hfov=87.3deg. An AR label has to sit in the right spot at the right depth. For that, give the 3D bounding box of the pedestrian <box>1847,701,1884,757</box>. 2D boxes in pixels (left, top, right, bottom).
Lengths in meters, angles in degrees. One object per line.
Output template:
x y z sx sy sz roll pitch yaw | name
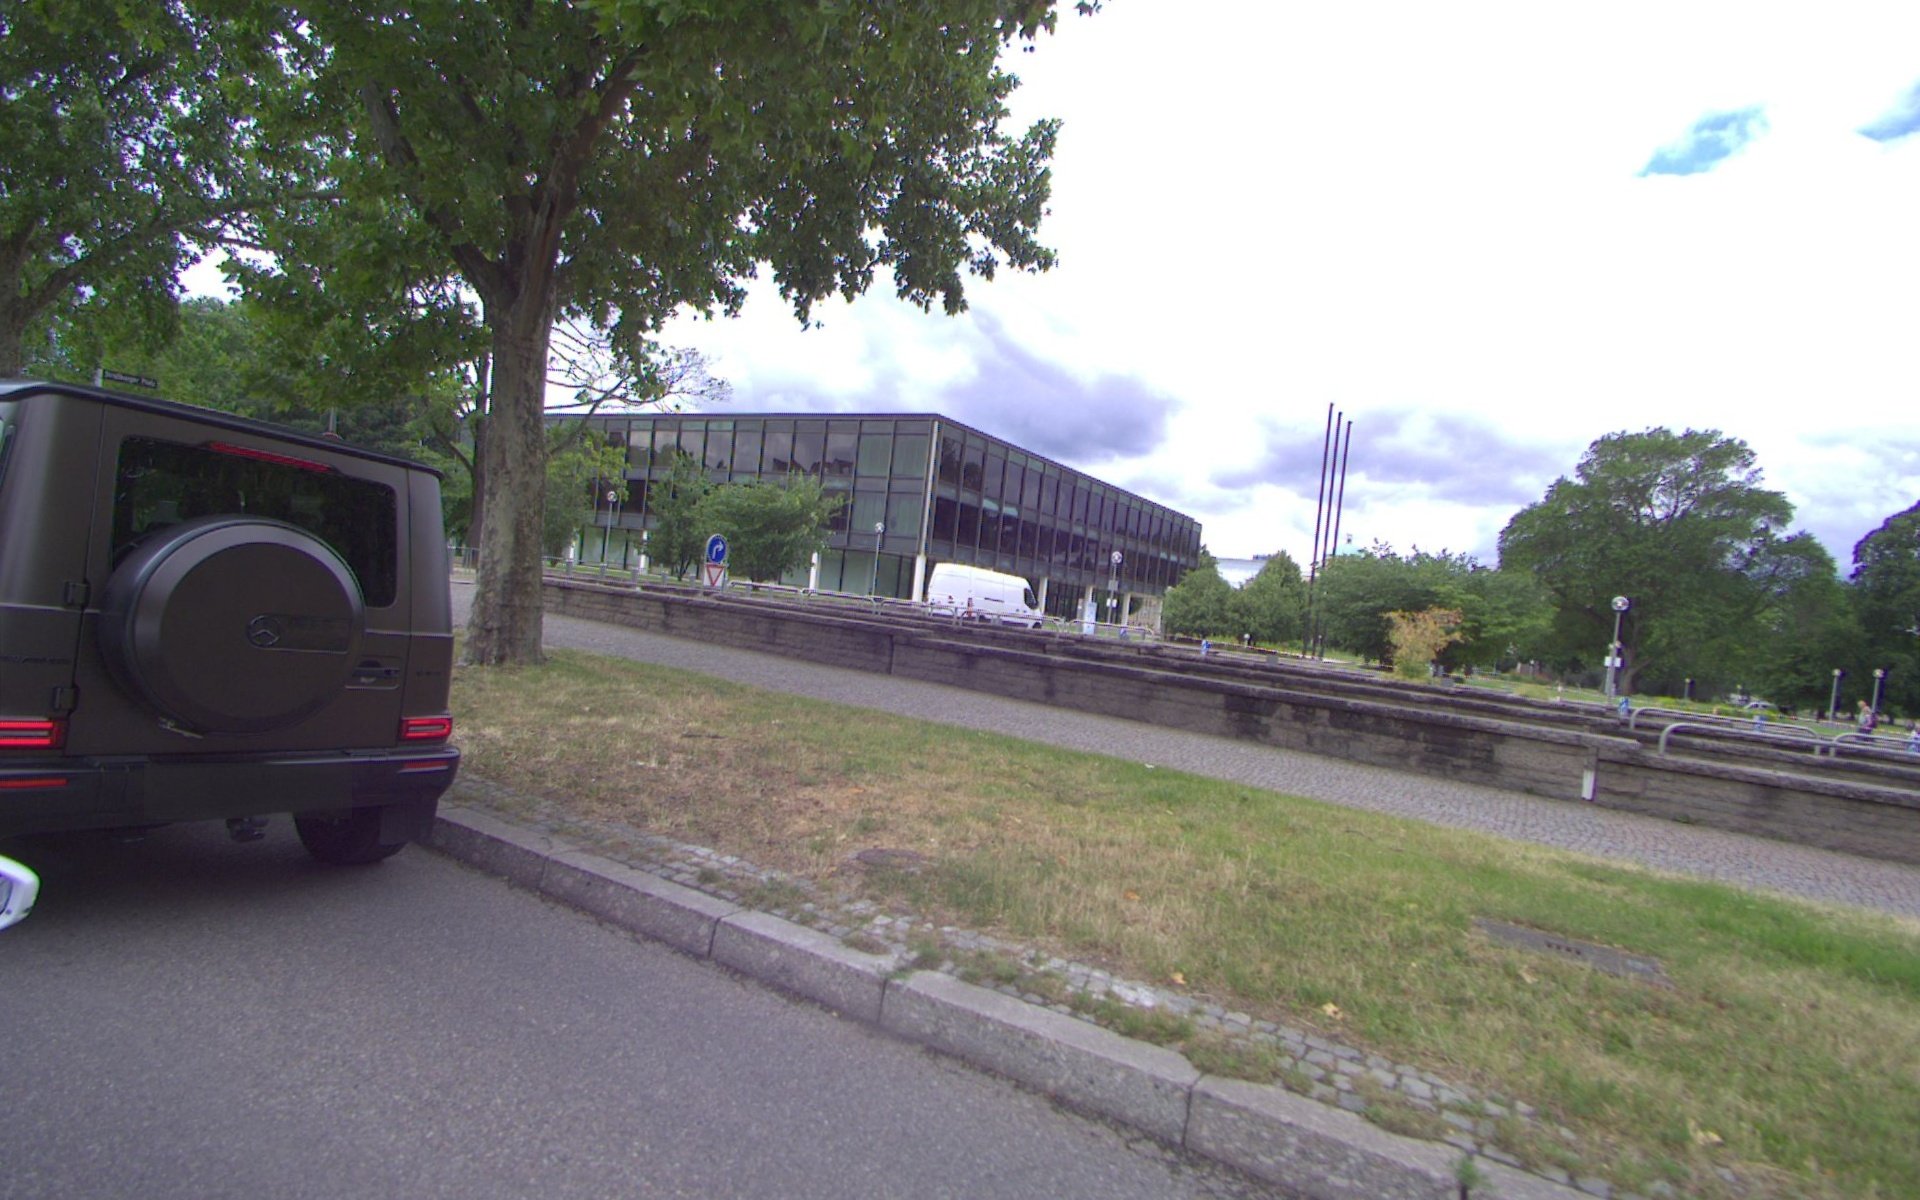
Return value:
34.800 4.948 38.665 0.802 2.036 0.857 5 -2 33 | pedestrian

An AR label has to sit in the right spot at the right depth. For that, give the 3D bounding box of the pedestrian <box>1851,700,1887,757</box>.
34.225 4.839 37.878 0.803 2.036 0.765 5 -2 36 | pedestrian

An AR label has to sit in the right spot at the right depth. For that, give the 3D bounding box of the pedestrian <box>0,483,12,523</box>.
-39.402 -4.001 41.031 0.672 1.544 0.788 6 -2 33 | pedestrian

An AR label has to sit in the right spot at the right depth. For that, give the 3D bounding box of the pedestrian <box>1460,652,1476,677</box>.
37.921 4.811 75.079 0.802 1.825 0.857 7 1 31 | pedestrian

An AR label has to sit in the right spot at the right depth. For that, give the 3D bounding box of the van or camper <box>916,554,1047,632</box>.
0.954 -0.192 38.733 2.283 2.347 5.704 5 -2 32 | van or camper

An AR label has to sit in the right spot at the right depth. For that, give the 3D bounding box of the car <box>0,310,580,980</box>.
-4.279 0.051 4.837 4.629 1.915 1.982 6 -2 31 | car
